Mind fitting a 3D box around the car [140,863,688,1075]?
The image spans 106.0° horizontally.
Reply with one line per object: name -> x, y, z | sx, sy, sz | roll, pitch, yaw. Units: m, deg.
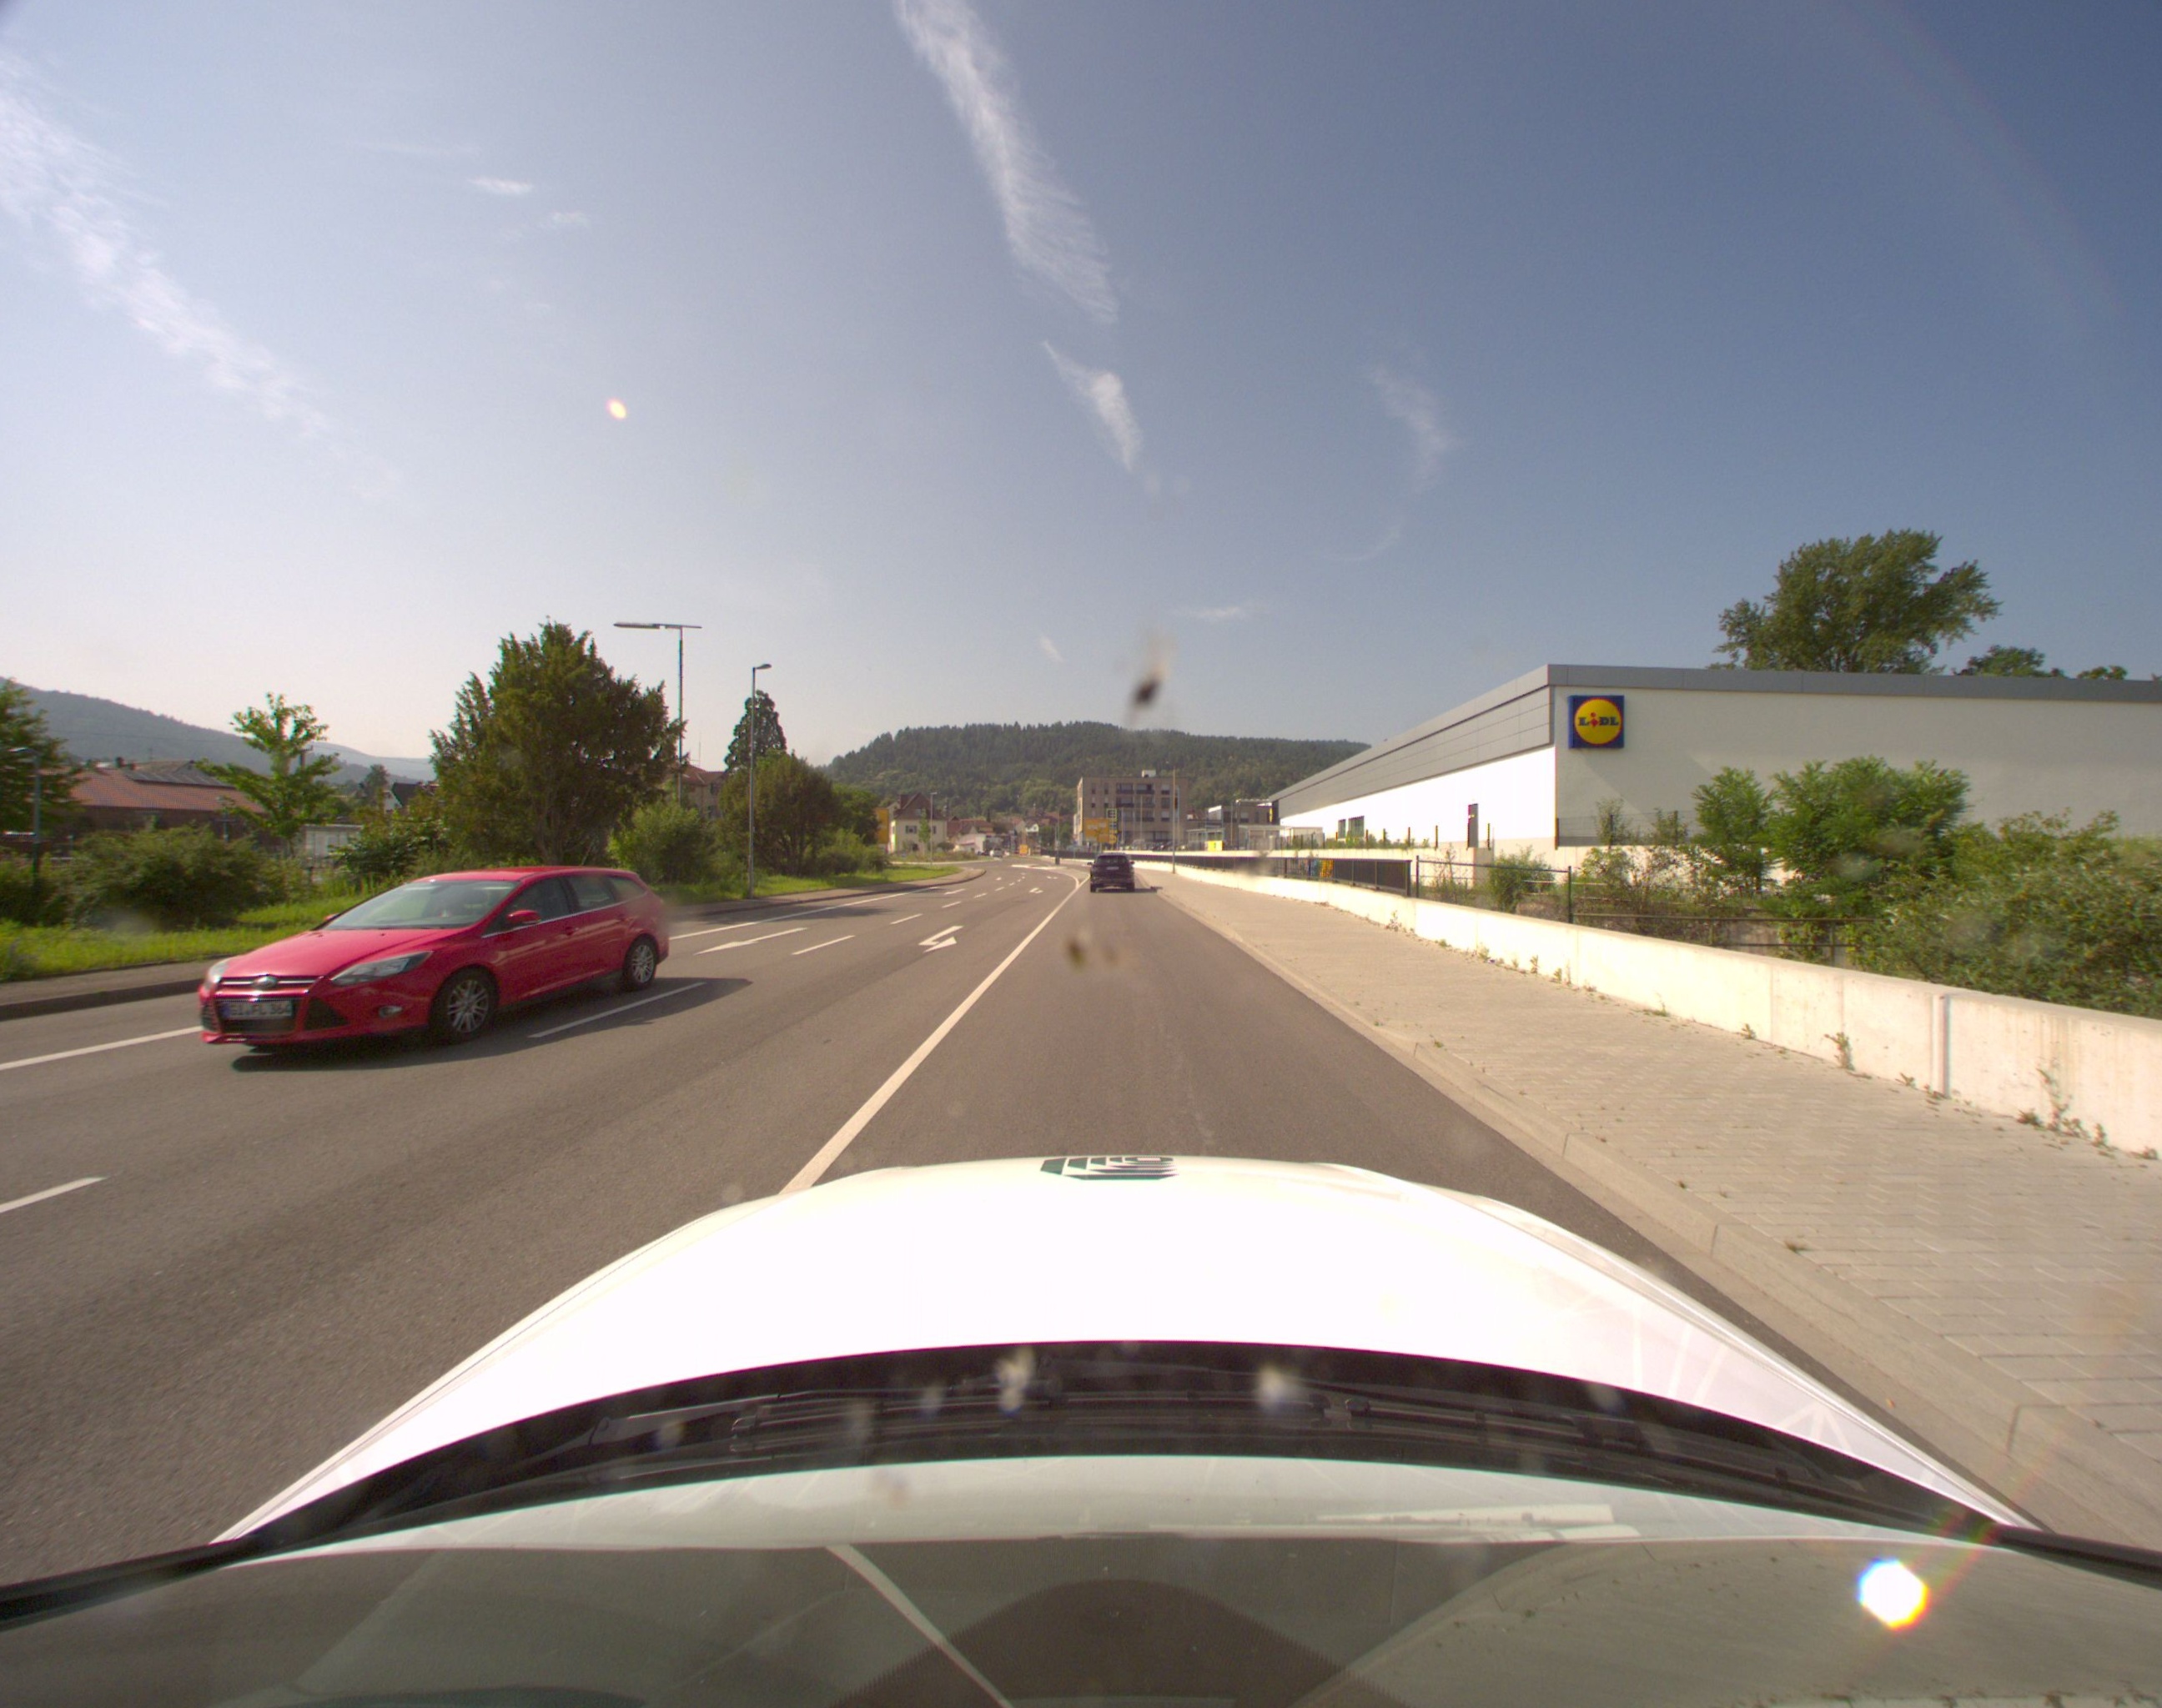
car -> -6.068, 0.885, 8.314 | 1.831, 1.492, 4.433 | -1, 0, 1

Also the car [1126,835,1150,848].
car -> 9.901, -2.143, 141.537 | 3.968, 2.136, 2.003 | -1, 0, 4

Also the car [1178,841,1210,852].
car -> 14.568, -1.023, 104.840 | 3.815, 1.364, 1.671 | -1, 1, -17

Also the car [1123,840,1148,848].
car -> 8.408, -1.488, 125.751 | 3.564, 1.199, 1.705 | -1, 1, -17

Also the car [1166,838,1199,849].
car -> 13.412, -1.368, 107.839 | 4.071, 1.404, 1.477 | -1, 1, -17

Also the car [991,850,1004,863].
car -> -13.133, 0.431, 128.179 | 1.990, 2.013, 3.994 | -1, 0, -4

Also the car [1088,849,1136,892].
car -> 1.255, 0.681, 34.930 | 1.875, 1.684, 3.999 | -1, 0, 0

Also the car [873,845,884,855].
car -> -38.998, -0.784, 156.854 | 1.815, 2.013, 3.975 | -1, 1, -19

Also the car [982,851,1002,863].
car -> -15.216, 0.441, 139.494 | 1.979, 2.013, 4.015 | -1, 0, 14

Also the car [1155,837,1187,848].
car -> 12.353, -1.606, 111.568 | 4.015, 1.404, 1.715 | -1, 1, -17
